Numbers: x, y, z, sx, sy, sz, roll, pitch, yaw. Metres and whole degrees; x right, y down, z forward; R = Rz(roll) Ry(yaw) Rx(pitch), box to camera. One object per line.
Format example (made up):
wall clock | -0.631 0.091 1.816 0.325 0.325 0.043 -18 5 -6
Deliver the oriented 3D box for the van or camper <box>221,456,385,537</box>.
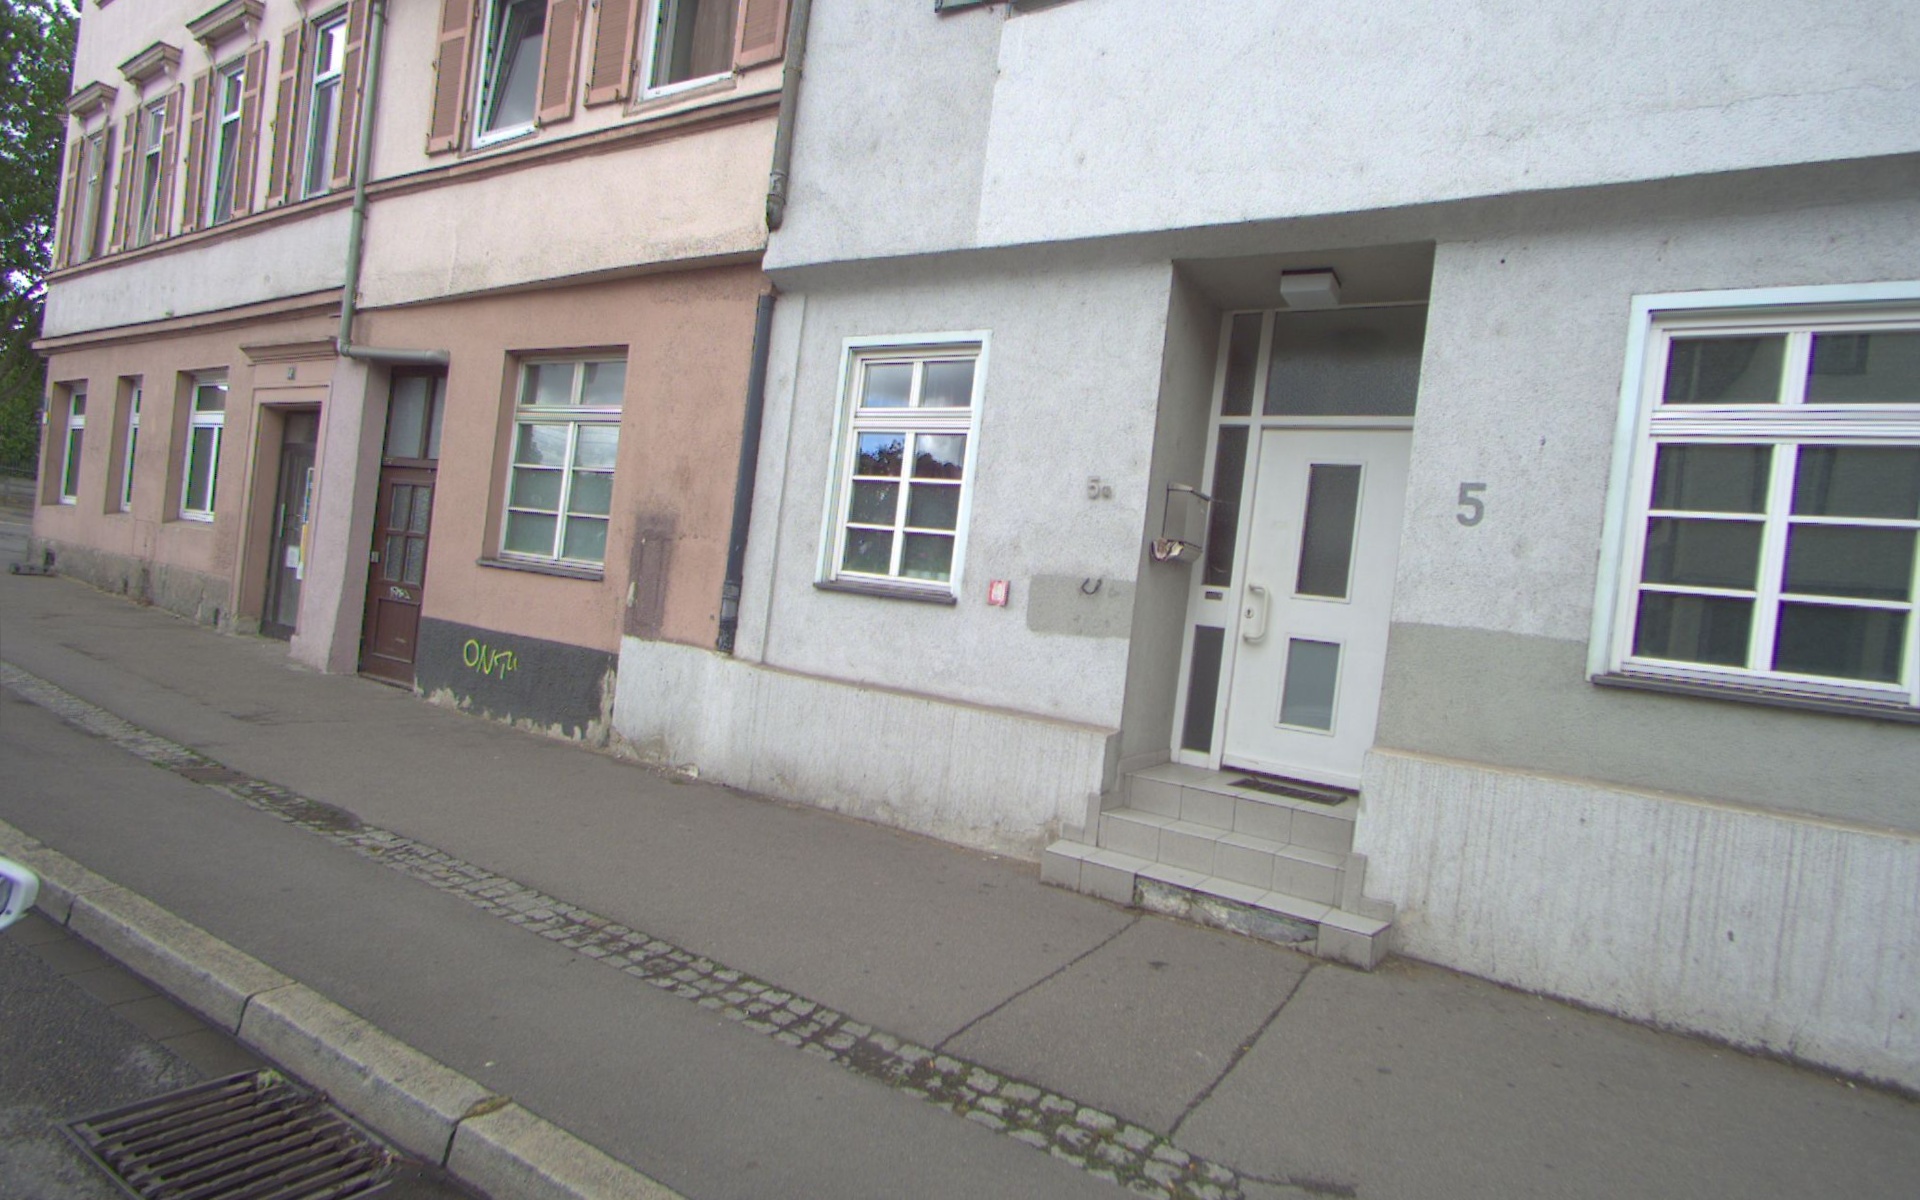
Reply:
van or camper | -28.057 -4.364 43.199 2.004 2.544 5.397 5 -1 33
